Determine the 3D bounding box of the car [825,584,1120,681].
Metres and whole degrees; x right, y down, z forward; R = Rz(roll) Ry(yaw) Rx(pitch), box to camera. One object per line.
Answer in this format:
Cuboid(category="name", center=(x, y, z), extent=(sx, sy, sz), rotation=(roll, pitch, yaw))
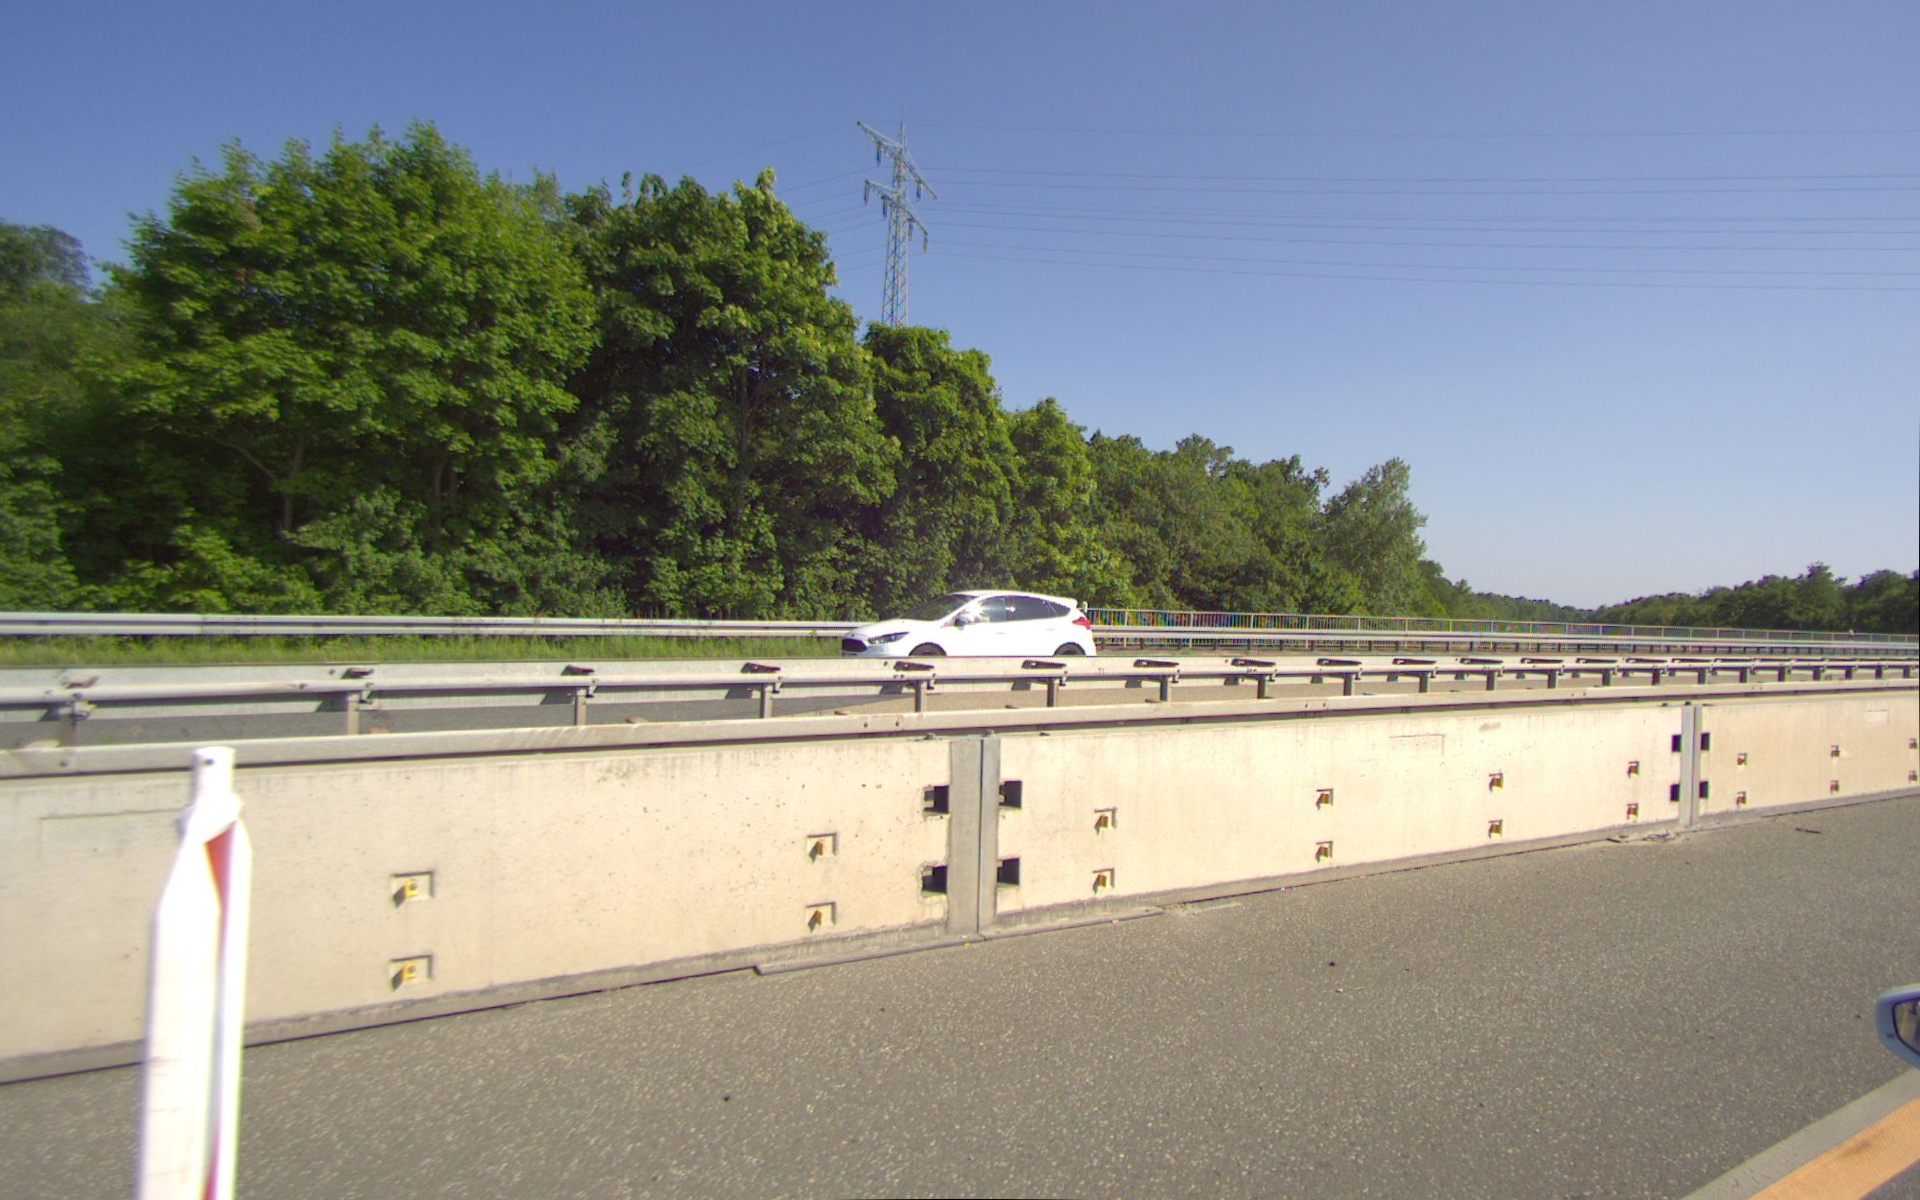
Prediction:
Cuboid(category="car", center=(0.268, 0.514, 16.128), extent=(4.500, 1.357, 1.730), rotation=(2, 0, -31))
